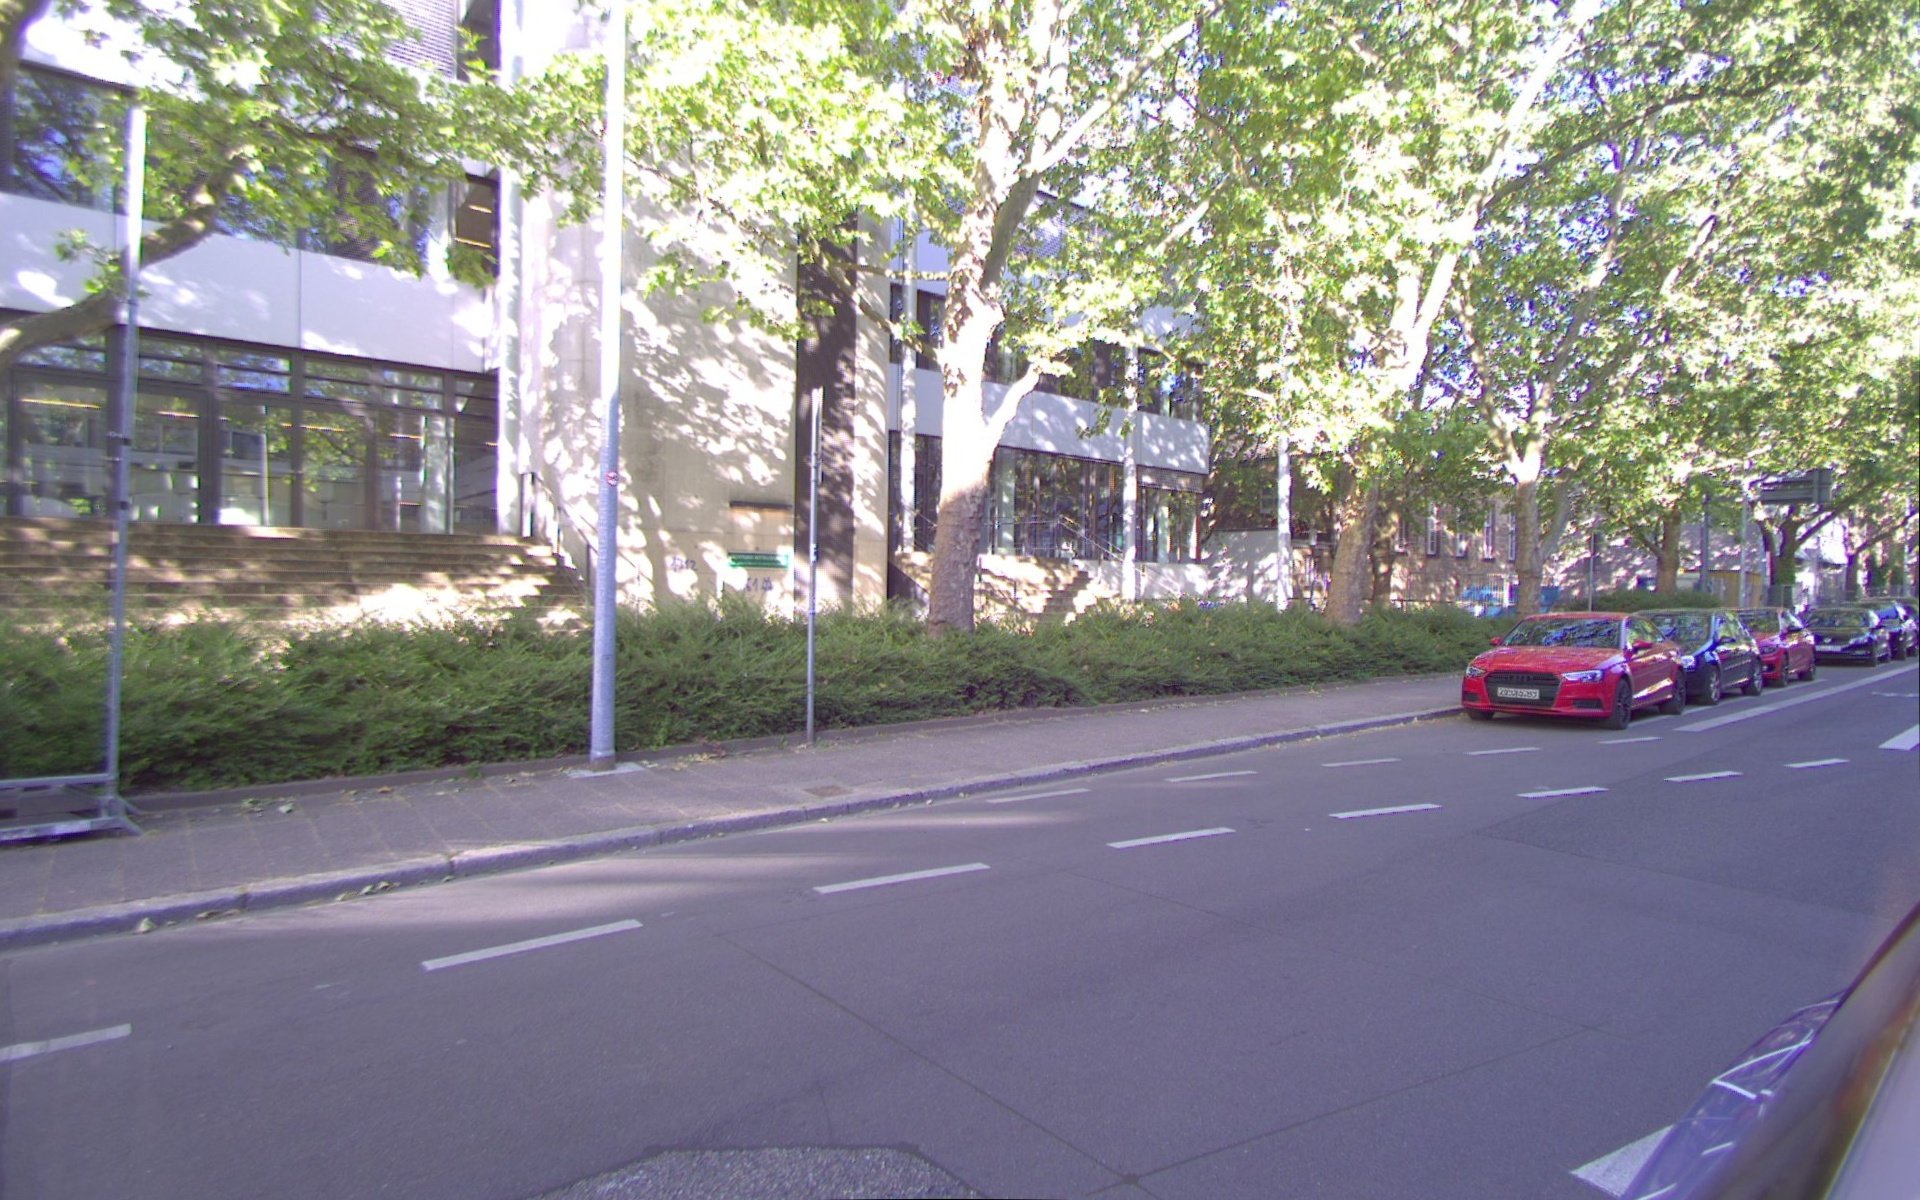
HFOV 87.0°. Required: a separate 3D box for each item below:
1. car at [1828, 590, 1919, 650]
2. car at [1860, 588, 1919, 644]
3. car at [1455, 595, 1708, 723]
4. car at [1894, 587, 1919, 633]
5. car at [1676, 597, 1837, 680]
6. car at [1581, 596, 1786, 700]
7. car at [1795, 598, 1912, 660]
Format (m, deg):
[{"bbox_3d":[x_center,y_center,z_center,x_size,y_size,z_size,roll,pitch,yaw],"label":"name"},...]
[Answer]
[{"bbox_3d":[26.648,0.524,29.200,4.158,1.601,1.847,0,1,-41],"label":"car"},{"bbox_3d":[31.082,0.481,33.061,4.188,1.747,1.997,-1,0,-41],"label":"car"},{"bbox_3d":[8.356,0.669,13.470,4.101,1.443,1.773,0,-1,-42],"label":"car"},{"bbox_3d":[35.740,0.361,37.083,4.004,1.638,1.797,0,1,-41],"label":"car"},{"bbox_3d":[15.784,0.675,19.985,3.930,1.456,1.789,0,1,-41],"label":"car"},{"bbox_3d":[11.931,0.690,16.611,3.929,1.475,1.812,0,1,-40],"label":"car"},{"bbox_3d":[22.984,0.680,26.002,3.930,1.456,1.744,0,1,-41],"label":"car"}]
